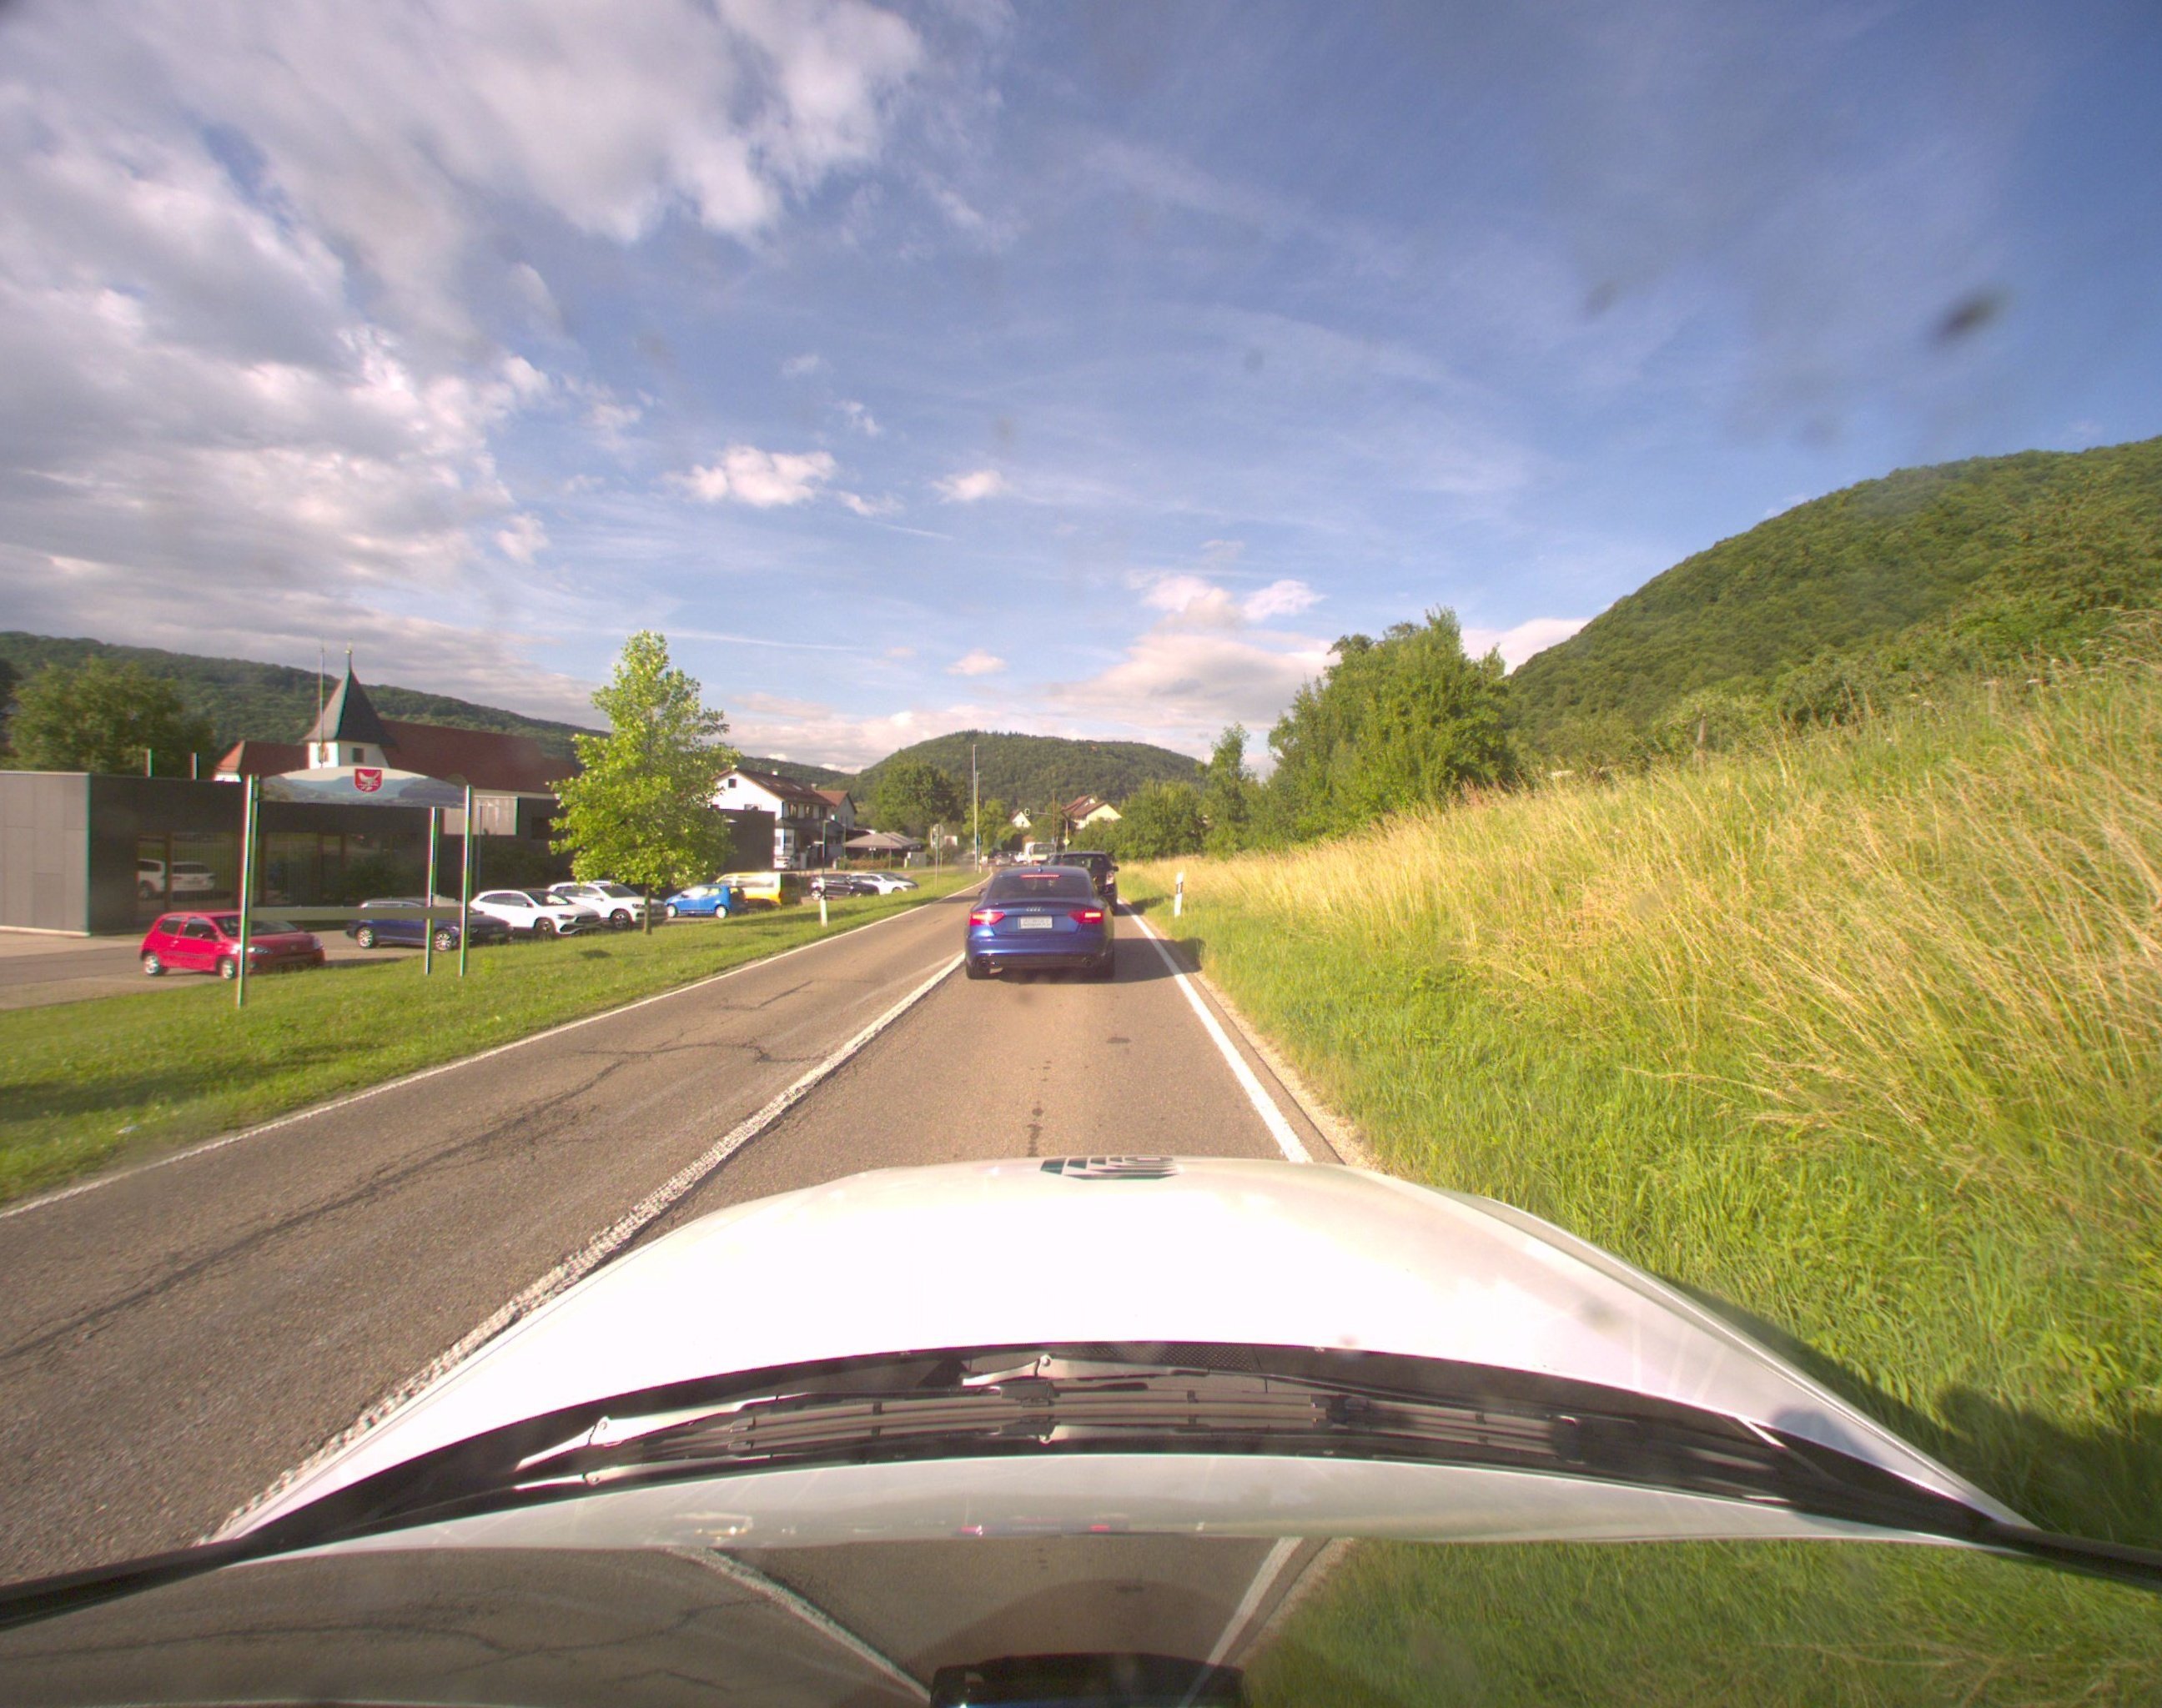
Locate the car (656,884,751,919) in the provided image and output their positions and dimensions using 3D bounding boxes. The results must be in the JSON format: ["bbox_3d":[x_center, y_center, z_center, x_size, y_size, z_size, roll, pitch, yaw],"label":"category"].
[{"bbox_3d":[-16.813,2.081,36.342,3.474,1.472,1.636,0,-1,8],"label":"car"}]

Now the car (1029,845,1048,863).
[{"bbox_3d":[-4.246,0.020,80.829,1.744,1.639,3.992,0,-1,-6],"label":"car"}]

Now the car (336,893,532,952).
[{"bbox_3d":[-19.071,1.987,24.105,4.511,1.555,2.005,0,-1,10],"label":"car"}]

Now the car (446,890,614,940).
[{"bbox_3d":[-18.478,2.011,27.385,4.511,1.555,2.005,0,-1,10],"label":"car"}]

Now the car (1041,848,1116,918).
[{"bbox_3d":[0.020,0.698,21.203,1.739,1.639,4.003,0,-1,3],"label":"car"}]

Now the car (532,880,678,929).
[{"bbox_3d":[-17.941,1.865,30.772,4.511,1.703,2.005,0,-1,10],"label":"car"}]

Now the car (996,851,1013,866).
[{"bbox_3d":[-8.402,0.509,88.856,1.733,1.662,3.462,0,-1,-7],"label":"car"}]

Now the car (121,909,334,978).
[{"bbox_3d":[-19.838,2.038,18.989,3.698,1.398,1.620,0,-1,10],"label":"car"}]

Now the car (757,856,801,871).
[{"bbox_3d":[-29.176,0.899,78.782,1.749,1.442,4.021,-1,-1,22],"label":"car"}]

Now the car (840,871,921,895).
[{"bbox_3d":[-13.084,1.913,53.332,4.784,1.493,1.886,0,-1,10],"label":"car"}]

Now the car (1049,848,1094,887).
[{"bbox_3d":[-0.371,0.590,36.513,1.798,1.639,4.465,0,-1,2],"label":"car"}]

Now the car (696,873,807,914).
[{"bbox_3d":[-15.694,1.856,38.905,4.578,1.868,2.007,0,-1,13],"label":"car"}]

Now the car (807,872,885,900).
[{"bbox_3d":[-14.087,1.901,48.841,4.000,1.637,2.006,0,-1,10],"label":"car"}]

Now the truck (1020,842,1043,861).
[{"bbox_3d":[-5.254,-0.195,86.199,1.698,1.953,5.900,0,-1,-11],"label":"truck"}]

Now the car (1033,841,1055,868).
[{"bbox_3d":[-3.186,0.044,69.502,1.744,2.195,3.992,0,-1,-6],"label":"car"}]

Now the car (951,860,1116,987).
[{"bbox_3d":[-0.446,0.795,11.086,1.788,1.388,4.003,-1,-1,3],"label":"car"}]
